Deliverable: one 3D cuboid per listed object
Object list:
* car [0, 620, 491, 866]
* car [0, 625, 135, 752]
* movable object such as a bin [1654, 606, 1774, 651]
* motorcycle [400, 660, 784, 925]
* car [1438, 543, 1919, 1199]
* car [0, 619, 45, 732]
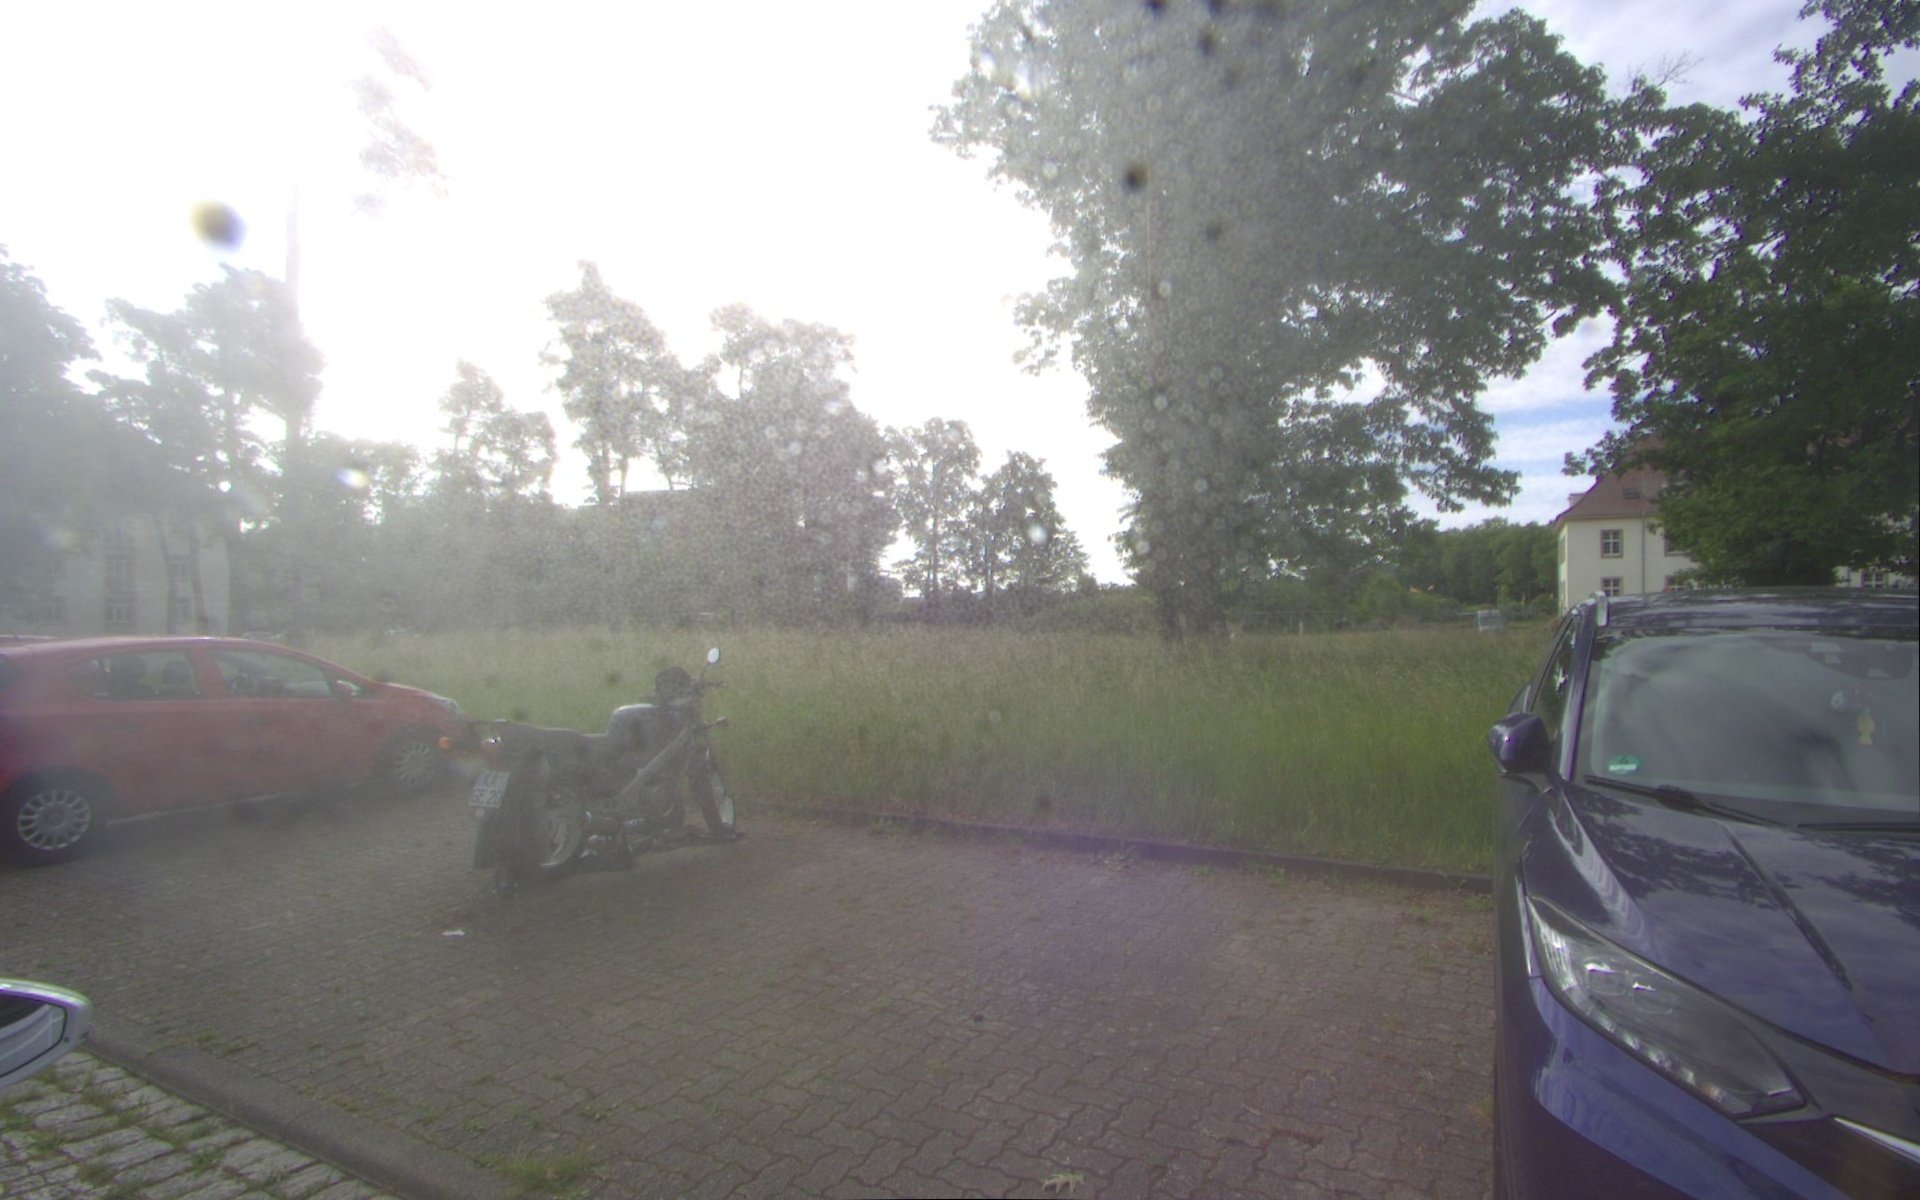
[{"bbox_3d":[-6.105,0.959,8.166,1.752,1.479,3.821,-1,0,28],"label":"car"},{"bbox_3d":[-12.551,1.102,11.954,1.725,1.479,3.787,-1,0,29],"label":"car"},{"bbox_3d":[47.052,1.793,62.723,5.899,2.689,2.162,-1,-2,36],"label":"movable object such as a bin"},{"bbox_3d":[-2.114,1.030,6.202,0.783,1.201,2.326,-1,0,26],"label":"motorcycle"},{"bbox_3d":[2.580,0.741,3.051,1.766,1.591,4.158,-2,-2,29],"label":"car"},{"bbox_3d":[-14.918,1.087,13.068,1.723,1.573,4.026,-1,0,27],"label":"car"}]
